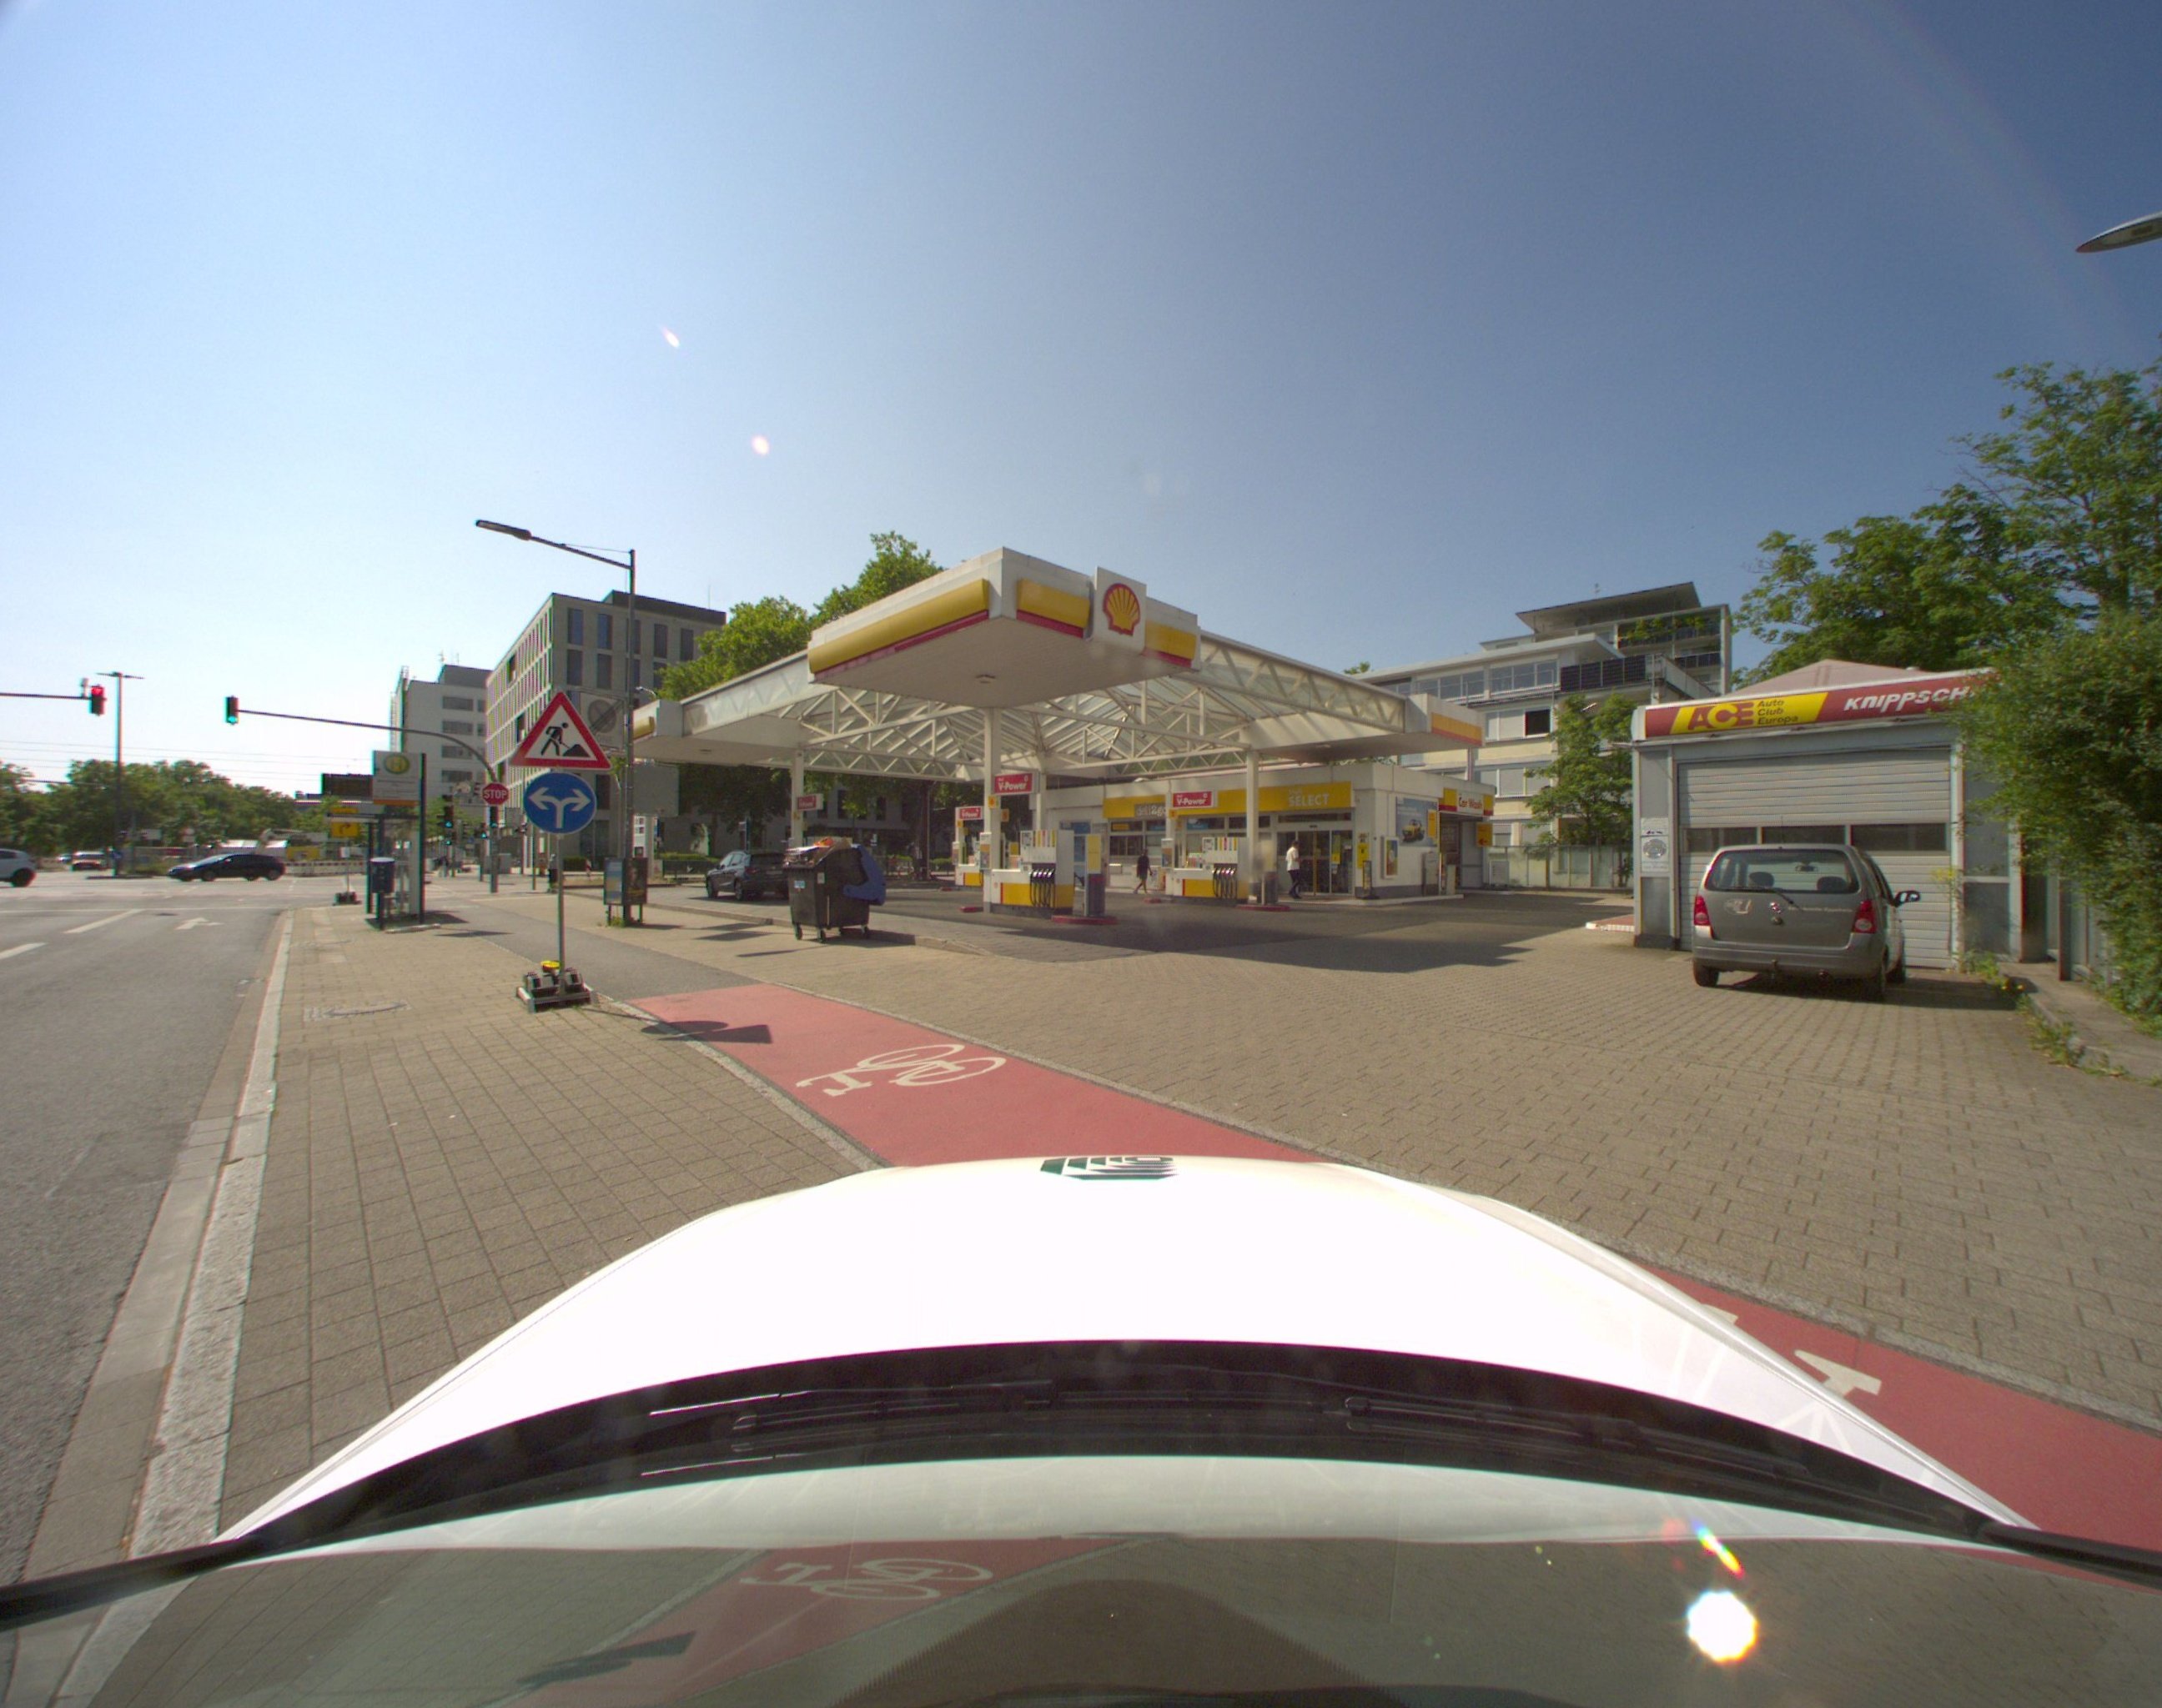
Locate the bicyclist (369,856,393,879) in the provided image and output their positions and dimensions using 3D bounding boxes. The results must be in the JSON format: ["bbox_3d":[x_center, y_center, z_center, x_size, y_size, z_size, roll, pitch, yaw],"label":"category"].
[{"bbox_3d":[-51.193,0.957,59.529,1.249,1.673,0.519,1,-1,-36],"label":"bicyclist"}]

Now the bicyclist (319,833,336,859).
[{"bbox_3d":[-76.277,-0.813,82.449,1.078,2.574,0.818,1,-2,-38],"label":"bicyclist"}]

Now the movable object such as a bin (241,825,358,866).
[{"bbox_3d":[-92.012,-0.905,96.250,9.759,4.550,3.126,1,-1,-42],"label":"movable object such as a bin"}]

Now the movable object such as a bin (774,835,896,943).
[{"bbox_3d":[-3.951,0.512,13.089,1.378,1.592,1.320,-1,2,44],"label":"movable object such as a bin"}]

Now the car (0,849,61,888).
[{"bbox_3d":[-45.763,0.593,33.520,1.995,1.636,4.851,0,0,-11],"label":"car"}]

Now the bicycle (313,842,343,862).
[{"bbox_3d":[-76.237,-0.188,82.478,2.104,1.962,0.818,1,-2,-38],"label":"bicycle"}]

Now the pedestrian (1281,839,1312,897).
[{"bbox_3d":[6.946,0.457,26.295,0.848,1.838,0.749,0,-1,25],"label":"pedestrian"}]

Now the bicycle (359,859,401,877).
[{"bbox_3d":[-51.209,1.007,59.513,2.245,1.285,0.519,1,-1,-36],"label":"bicycle"}]

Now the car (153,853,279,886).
[{"bbox_3d":[-45.943,0.789,43.394,1.979,1.639,4.141,0,0,15],"label":"car"}]

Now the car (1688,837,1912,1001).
[{"bbox_3d":[8.746,0.659,9.796,3.853,1.596,1.571,1,-1,-42],"label":"car"}]

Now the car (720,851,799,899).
[{"bbox_3d":[-10.287,0.641,25.963,1.661,1.398,3.604,1,-1,-33],"label":"car"}]

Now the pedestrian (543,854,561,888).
[{"bbox_3d":[-24.170,0.787,37.209,0.624,1.543,0.456,1,-1,-45],"label":"pedestrian"}]

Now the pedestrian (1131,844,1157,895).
[{"bbox_3d":[2.260,0.544,29.332,0.678,1.822,0.624,1,-1,-37],"label":"pedestrian"}]
